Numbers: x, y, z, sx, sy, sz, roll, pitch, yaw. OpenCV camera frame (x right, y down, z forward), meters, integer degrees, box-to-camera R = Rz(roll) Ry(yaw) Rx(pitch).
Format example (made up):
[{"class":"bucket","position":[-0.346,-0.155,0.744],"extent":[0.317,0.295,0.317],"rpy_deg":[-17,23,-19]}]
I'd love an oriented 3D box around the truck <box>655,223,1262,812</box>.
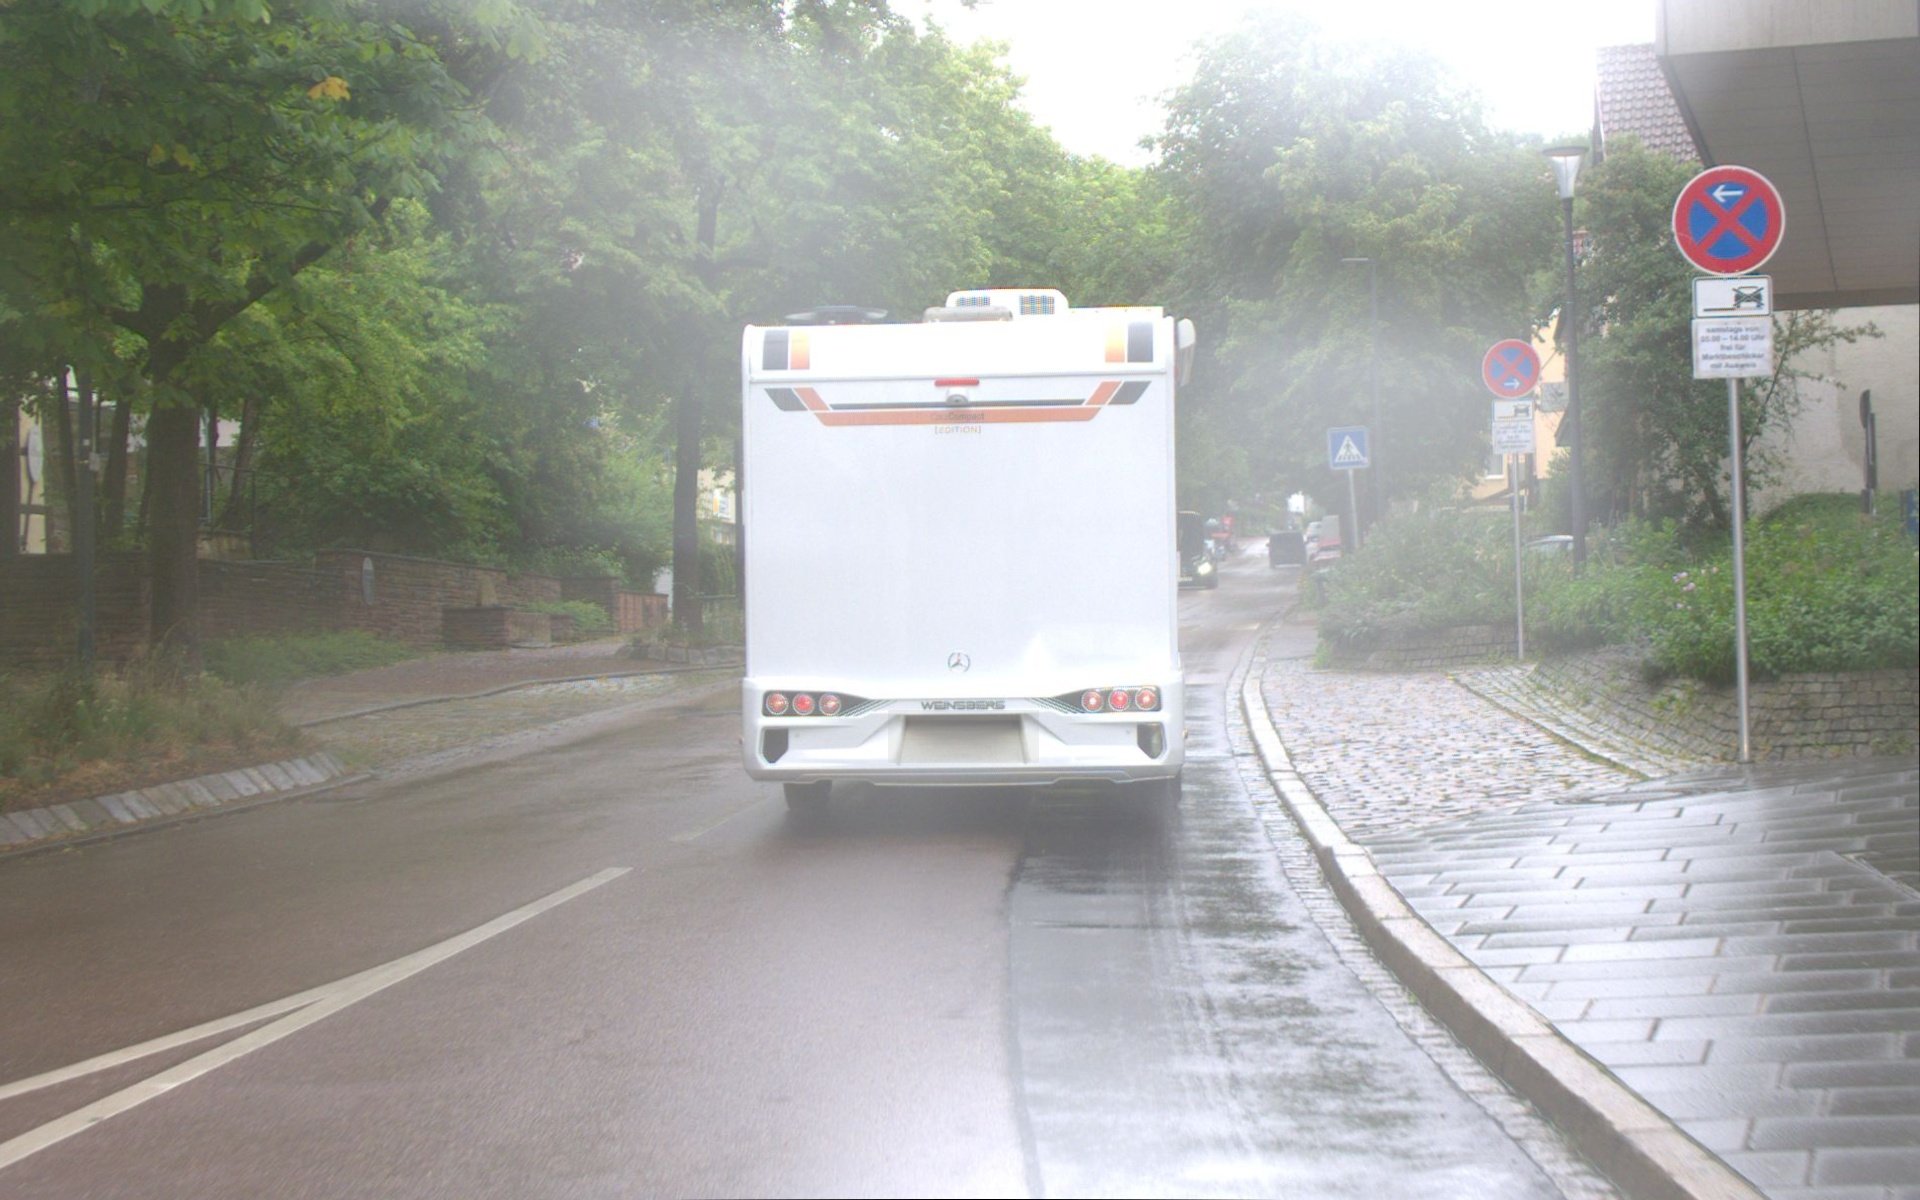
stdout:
[{"class":"truck","position":[0.244,-0.393,20.047],"extent":[2.806,2.787,6.105],"rpy_deg":[-2,0,6]}]

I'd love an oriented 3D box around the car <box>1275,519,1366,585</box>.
[{"class":"car","position":[8.328,-1.119,79.126],"extent":[1.856,1.467,4.364],"rpy_deg":[0,1,9]}]

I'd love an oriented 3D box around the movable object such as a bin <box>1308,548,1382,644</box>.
[{"class":"movable object such as a bin","position":[4.606,-0.050,41.145],"extent":[0.704,1.120,0.571],"rpy_deg":[-3,-1,22]}]
